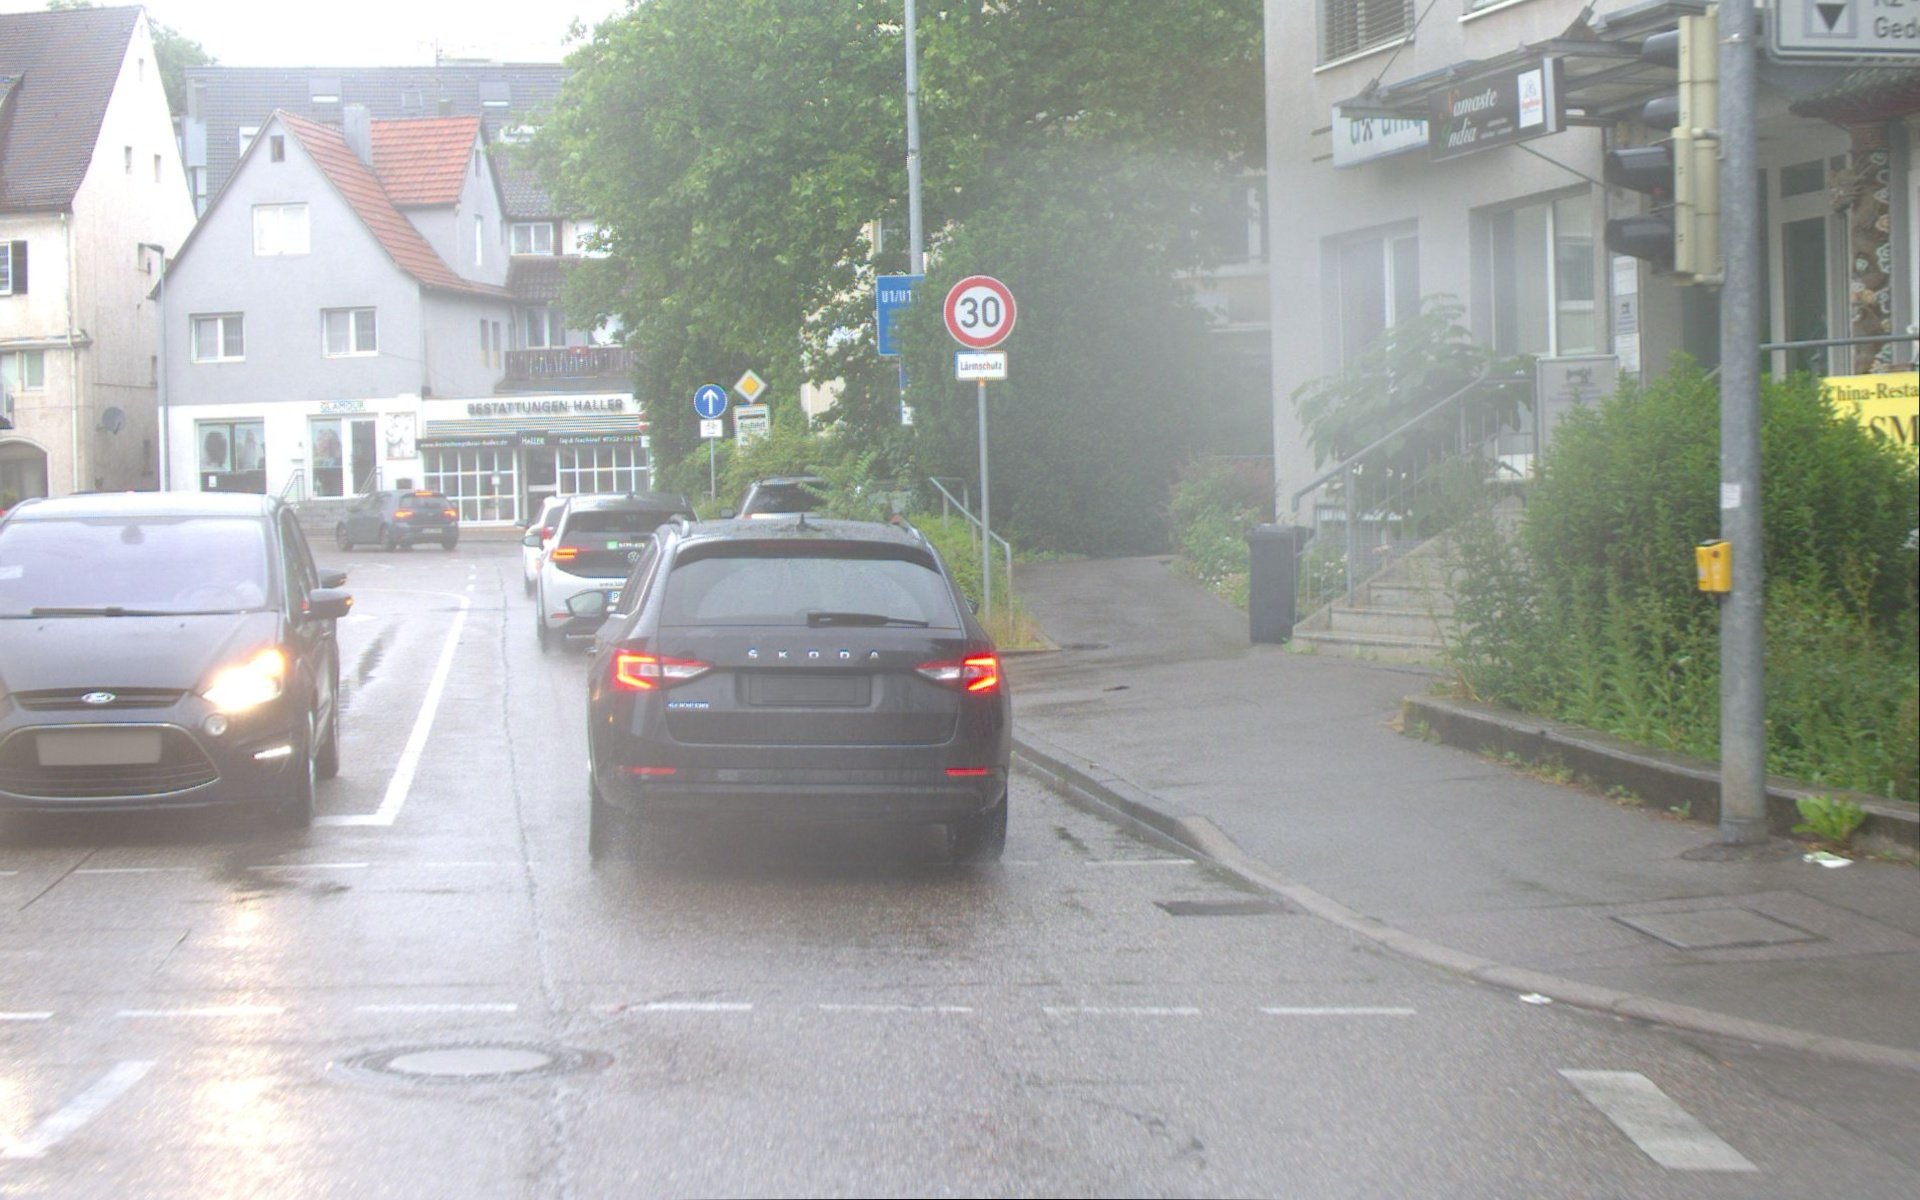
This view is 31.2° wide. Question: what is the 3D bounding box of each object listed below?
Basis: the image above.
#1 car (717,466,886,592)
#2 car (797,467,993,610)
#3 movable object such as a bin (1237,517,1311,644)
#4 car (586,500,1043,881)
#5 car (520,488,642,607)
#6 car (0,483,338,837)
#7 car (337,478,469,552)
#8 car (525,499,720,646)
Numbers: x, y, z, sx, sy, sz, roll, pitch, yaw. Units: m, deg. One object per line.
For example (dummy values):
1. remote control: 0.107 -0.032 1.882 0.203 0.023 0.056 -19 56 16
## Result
1. car: -2.296 -1.015 48.762 1.852 1.635 3.872 -2 2 -10
2. car: -0.853 -0.776 42.860 1.852 1.635 3.539 -2 2 -10
3. movable object such as a bin: 2.515 -0.161 27.522 0.511 0.942 0.602 2 6 11
4. car: -0.780 0.319 15.795 1.781 1.478 4.247 2 1 -6
5. car: -5.579 -0.744 50.909 1.727 1.585 4.184 0 -1 -5
6. car: -4.131 0.197 17.370 1.784 1.557 4.403 0 2 -8
7. car: -13.221 -1.997 81.406 1.893 1.585 3.688 -3 1 -29
8. car: -3.401 -0.304 34.571 1.817 1.355 3.991 -1 1 -6
